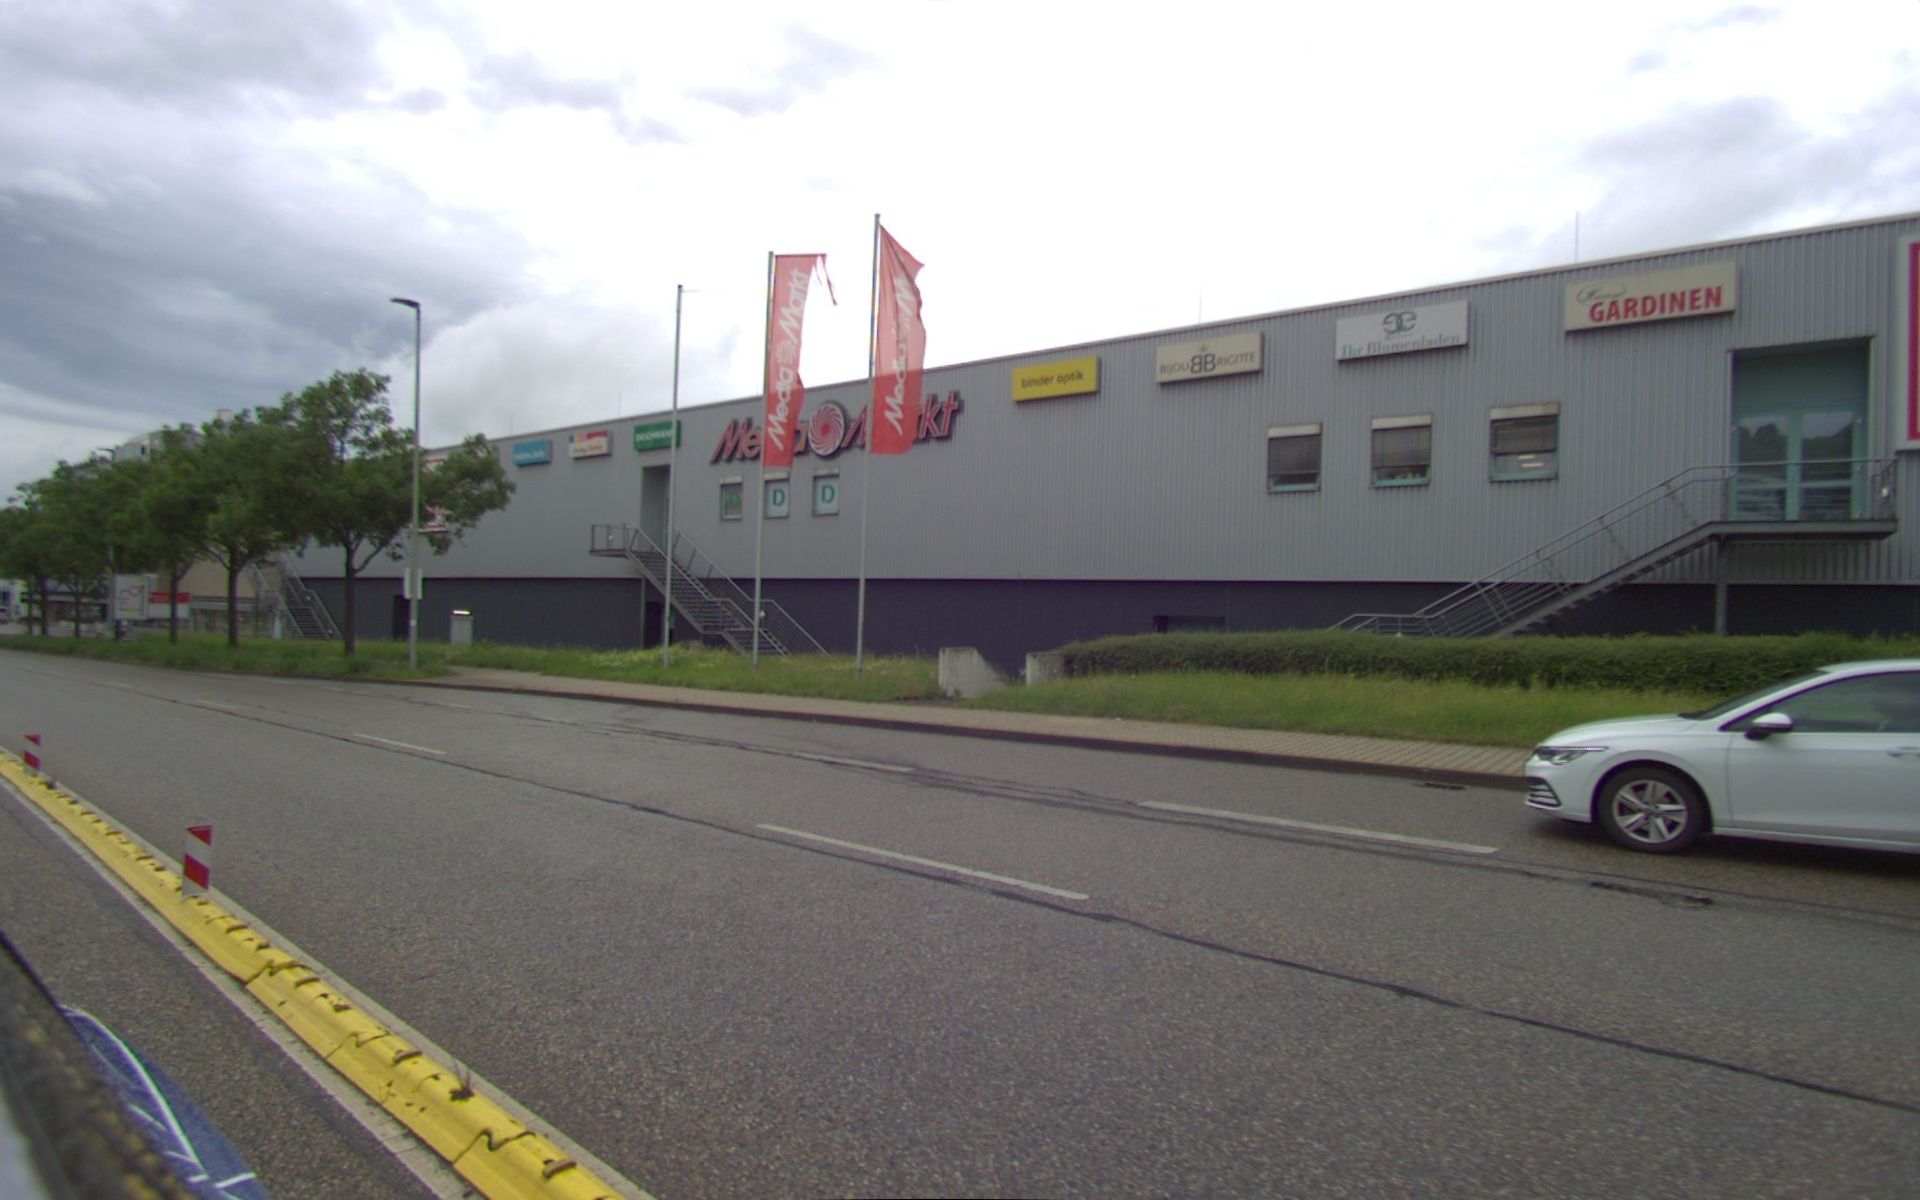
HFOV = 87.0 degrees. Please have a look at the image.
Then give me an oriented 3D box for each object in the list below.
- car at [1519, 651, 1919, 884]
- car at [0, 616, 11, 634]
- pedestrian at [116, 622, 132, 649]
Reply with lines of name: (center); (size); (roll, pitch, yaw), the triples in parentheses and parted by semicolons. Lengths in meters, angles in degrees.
car: (6.554, 1.092, 7.082); (4.415, 1.419, 1.882); (-2, -3, 36)
car: (-112.431, 2.948, 118.097); (4.883, 2.028, 1.973); (0, 3, 42)
pedestrian: (-49.804, 2.109, 60.283); (0.766, 1.595, 0.579); (-1, 0, 39)
